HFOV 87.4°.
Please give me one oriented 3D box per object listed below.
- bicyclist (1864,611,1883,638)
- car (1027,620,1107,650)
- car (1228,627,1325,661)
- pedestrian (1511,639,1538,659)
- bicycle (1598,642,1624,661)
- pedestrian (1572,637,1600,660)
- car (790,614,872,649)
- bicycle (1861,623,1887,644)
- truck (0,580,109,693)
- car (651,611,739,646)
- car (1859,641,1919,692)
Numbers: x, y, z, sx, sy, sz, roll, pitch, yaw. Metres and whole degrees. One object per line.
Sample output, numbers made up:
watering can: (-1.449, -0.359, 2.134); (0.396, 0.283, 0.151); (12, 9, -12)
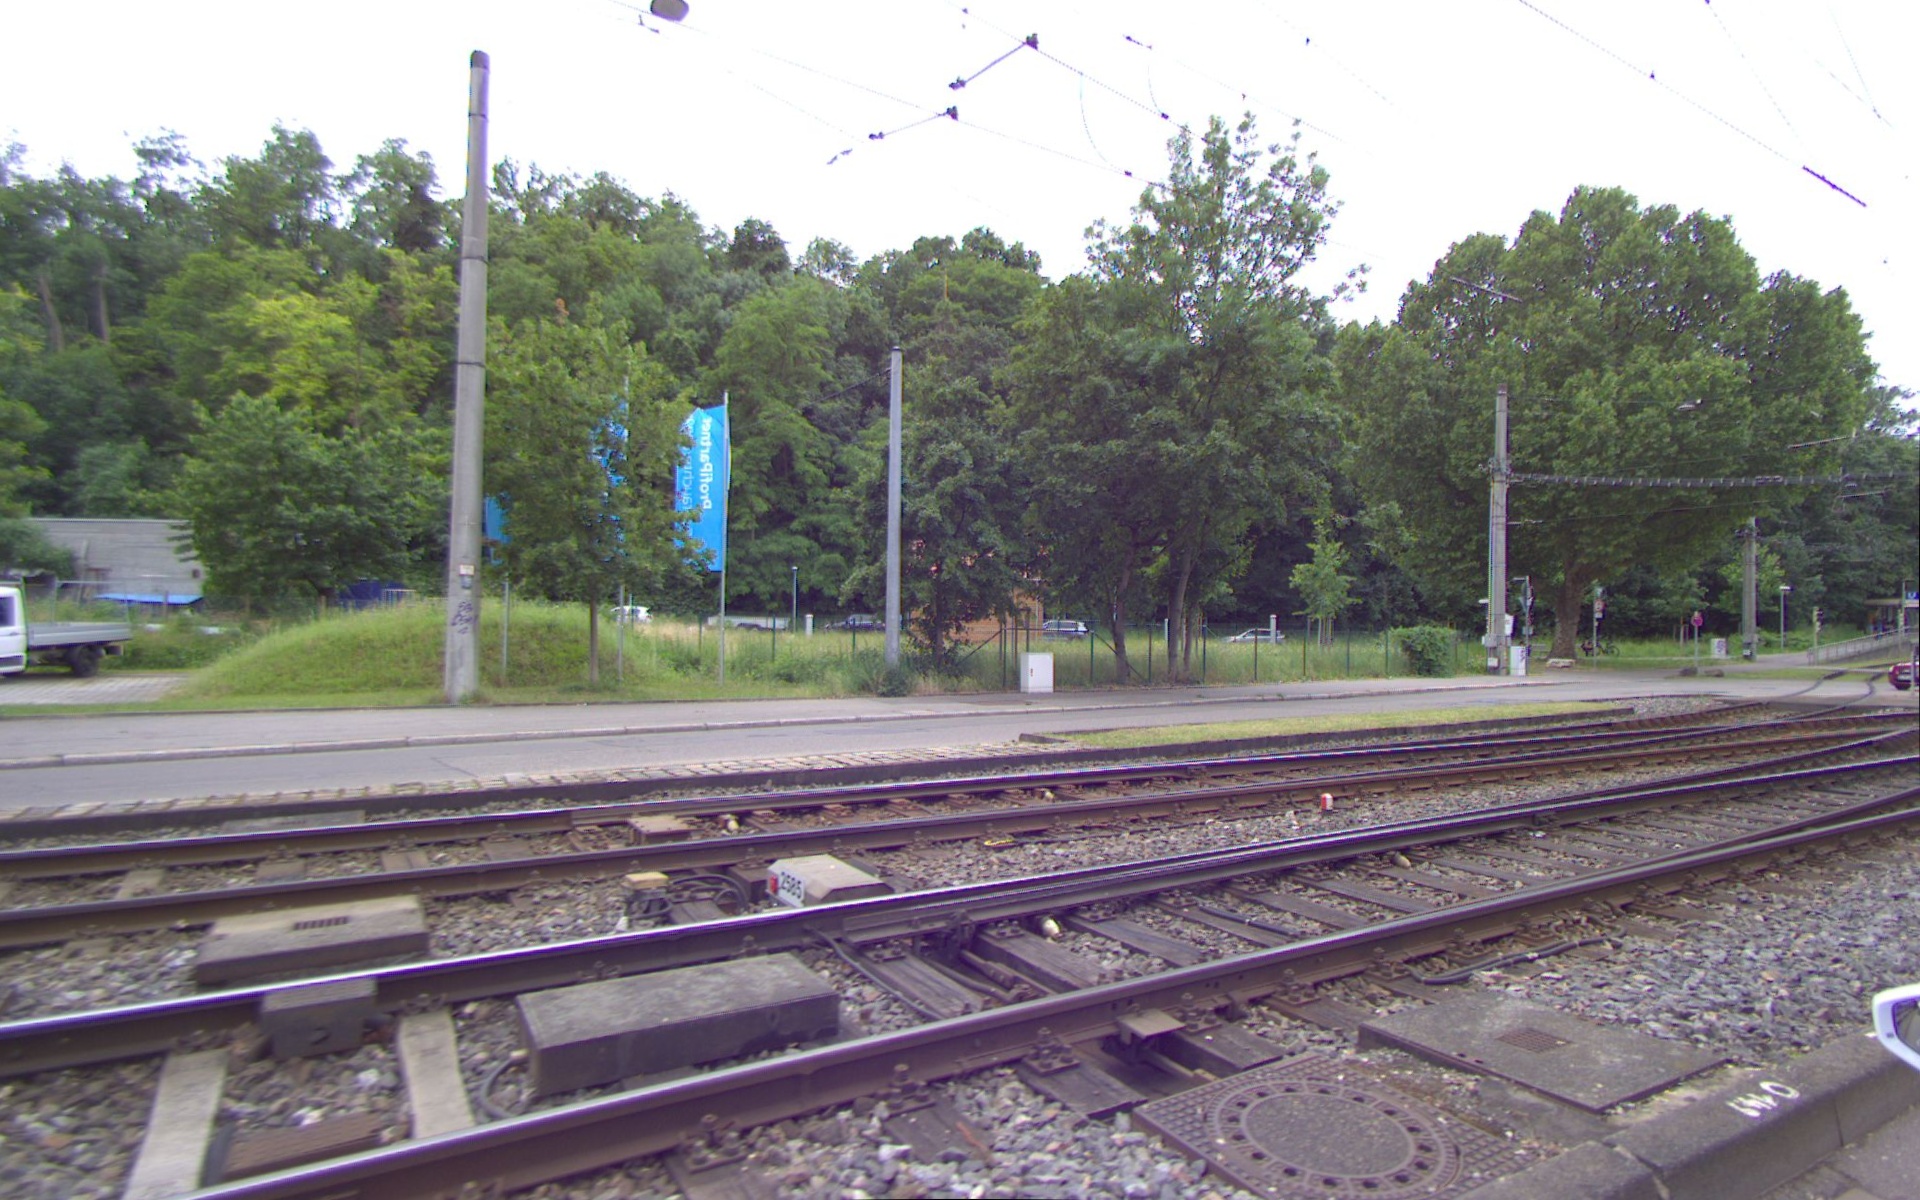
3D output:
bicyclist: (63.946, 1.722, 70.298); (1.042, 1.874, 0.815); (-1, 0, -37)
car: (6.178, 2.025, 58.498); (4.320, 1.603, 1.999); (1, -1, -5)
car: (18.821, 2.597, 59.908); (4.984, 1.913, 2.355); (1, -1, -1)
pedestrian: (34.115, 2.970, 60.708); (1.059, 1.110, 0.906); (3, 0, 6)
bicycle: (39.543, 3.119, 61.017); (0.662, 1.025, 1.654); (3, 0, 9)
pedestrian: (38.248, 2.944, 61.379); (1.035, 1.284, 1.117); (3, 0, 9)
car: (-6.655, 1.624, 52.007); (3.921, 1.684, 2.000); (1, -1, 1)
bicycle: (64.073, 2.311, 70.383); (2.969, 1.361, 0.818); (-2, 0, -38)
truck: (-23.716, 0.860, 24.340); (2.424, 2.622, 5.064); (1, -2, -10)
car: (-13.483, 1.443, 51.210); (3.921, 1.684, 2.000); (1, -1, 1)
car: (32.129, 2.164, 32.563); (4.416, 1.535, 1.998); (1, -1, -7)
